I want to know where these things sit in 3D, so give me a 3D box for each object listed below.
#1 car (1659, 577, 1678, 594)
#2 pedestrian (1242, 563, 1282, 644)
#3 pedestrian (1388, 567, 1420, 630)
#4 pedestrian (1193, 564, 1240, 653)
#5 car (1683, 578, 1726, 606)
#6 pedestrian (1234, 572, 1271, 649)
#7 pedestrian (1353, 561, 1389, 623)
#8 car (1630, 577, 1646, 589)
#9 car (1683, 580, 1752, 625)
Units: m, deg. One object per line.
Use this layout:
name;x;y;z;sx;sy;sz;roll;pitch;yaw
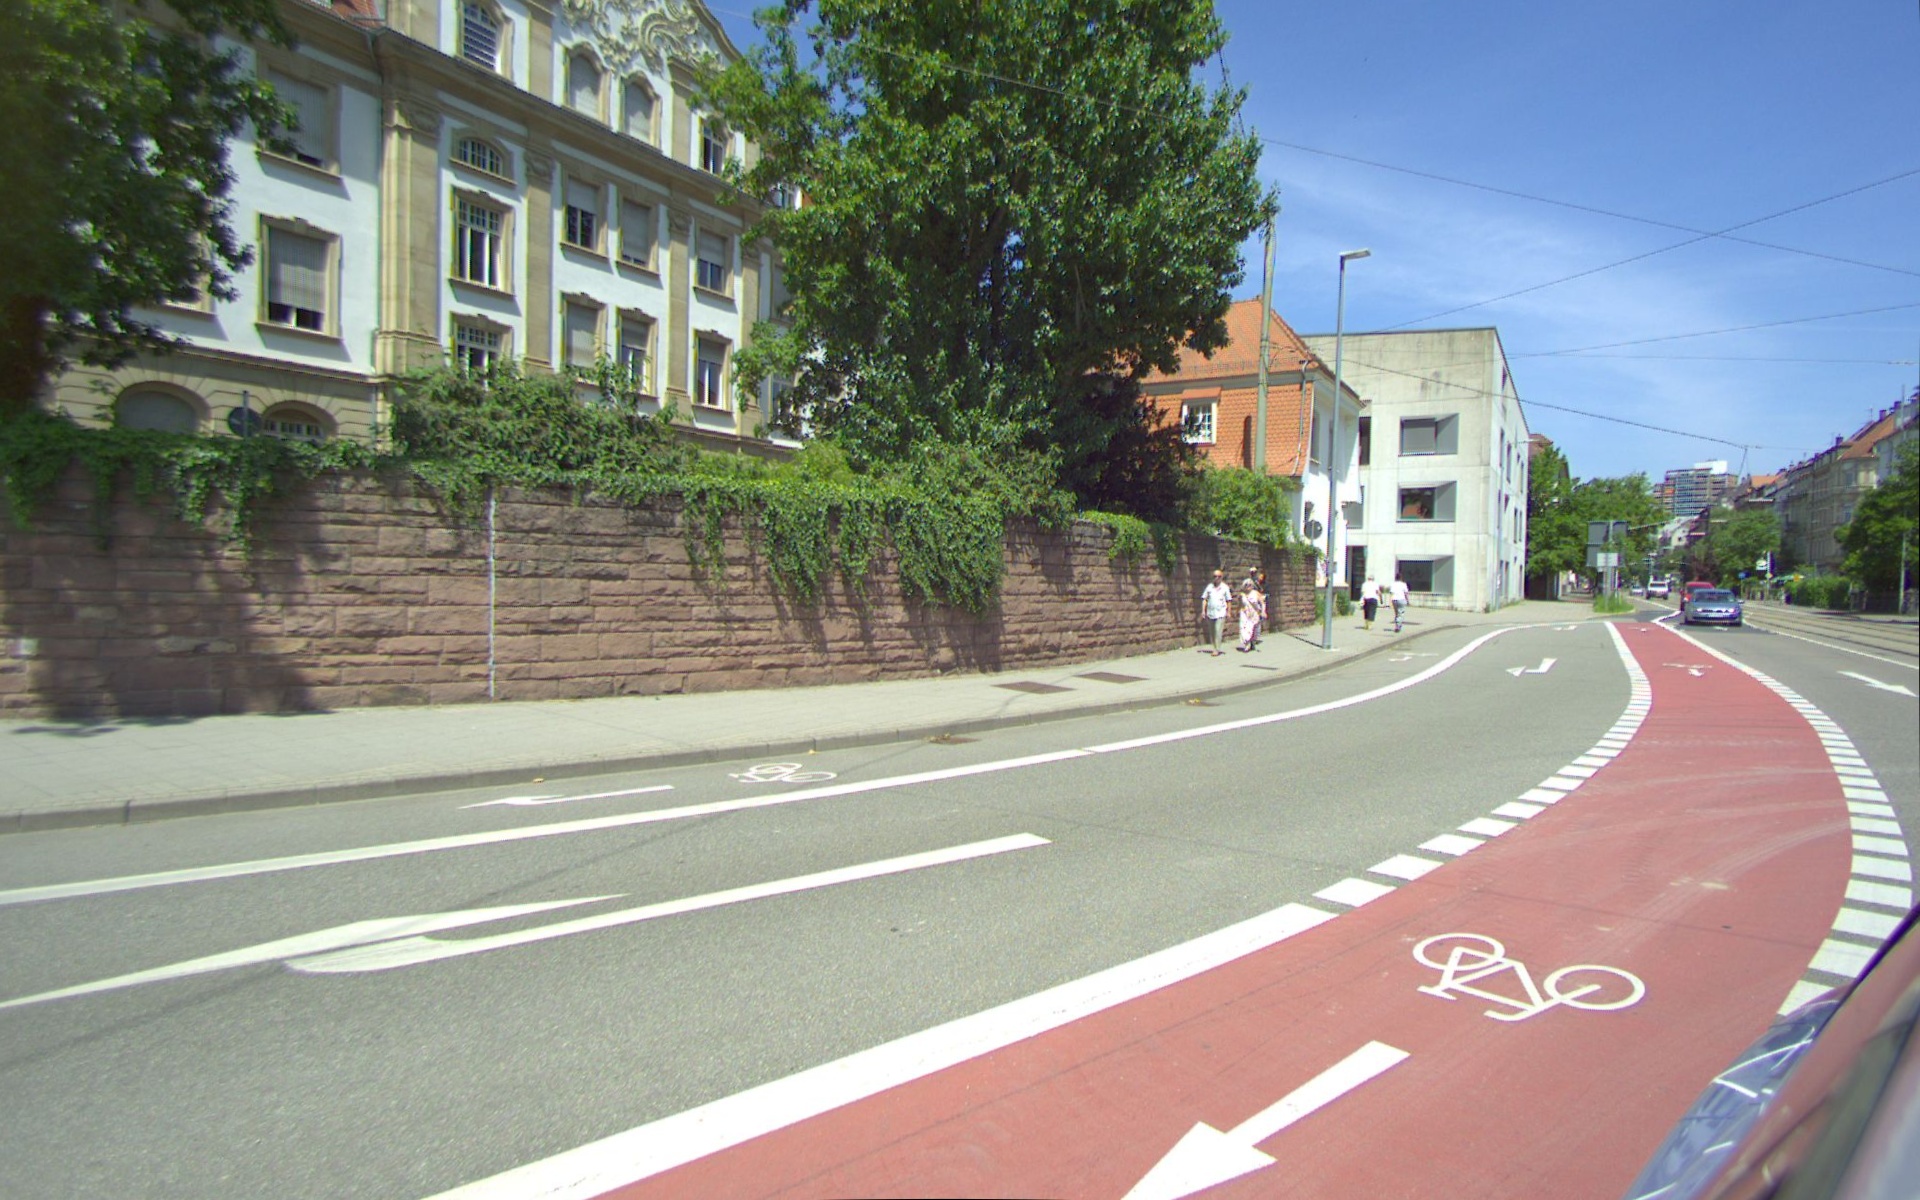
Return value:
car;76.942;-1.607;109.944;1.610;1.730;3.389;1;3;33
pedestrian;6.830;0.070;22.900;0.712;1.795;0.622;1;0;30
pedestrian;13.076;-0.051;29.809;0.675;1.830;0.738;2;2;37
pedestrian;4.969;0.144;19.579;0.659;1.667;0.616;2;2;38
car;47.549;-0.530;64.681;1.862;1.667;3.737;1;3;32
pedestrian;6.006;0.206;20.759;0.514;1.551;0.589;2;2;38
pedestrian;12.329;-0.254;30.363;0.812;1.830;0.691;2;2;37
car;101.979;-2.499;152.211;1.872;1.705;3.327;2;3;34
car;30.165;0.047;40.403;1.881;1.589;3.992;1;3;32
